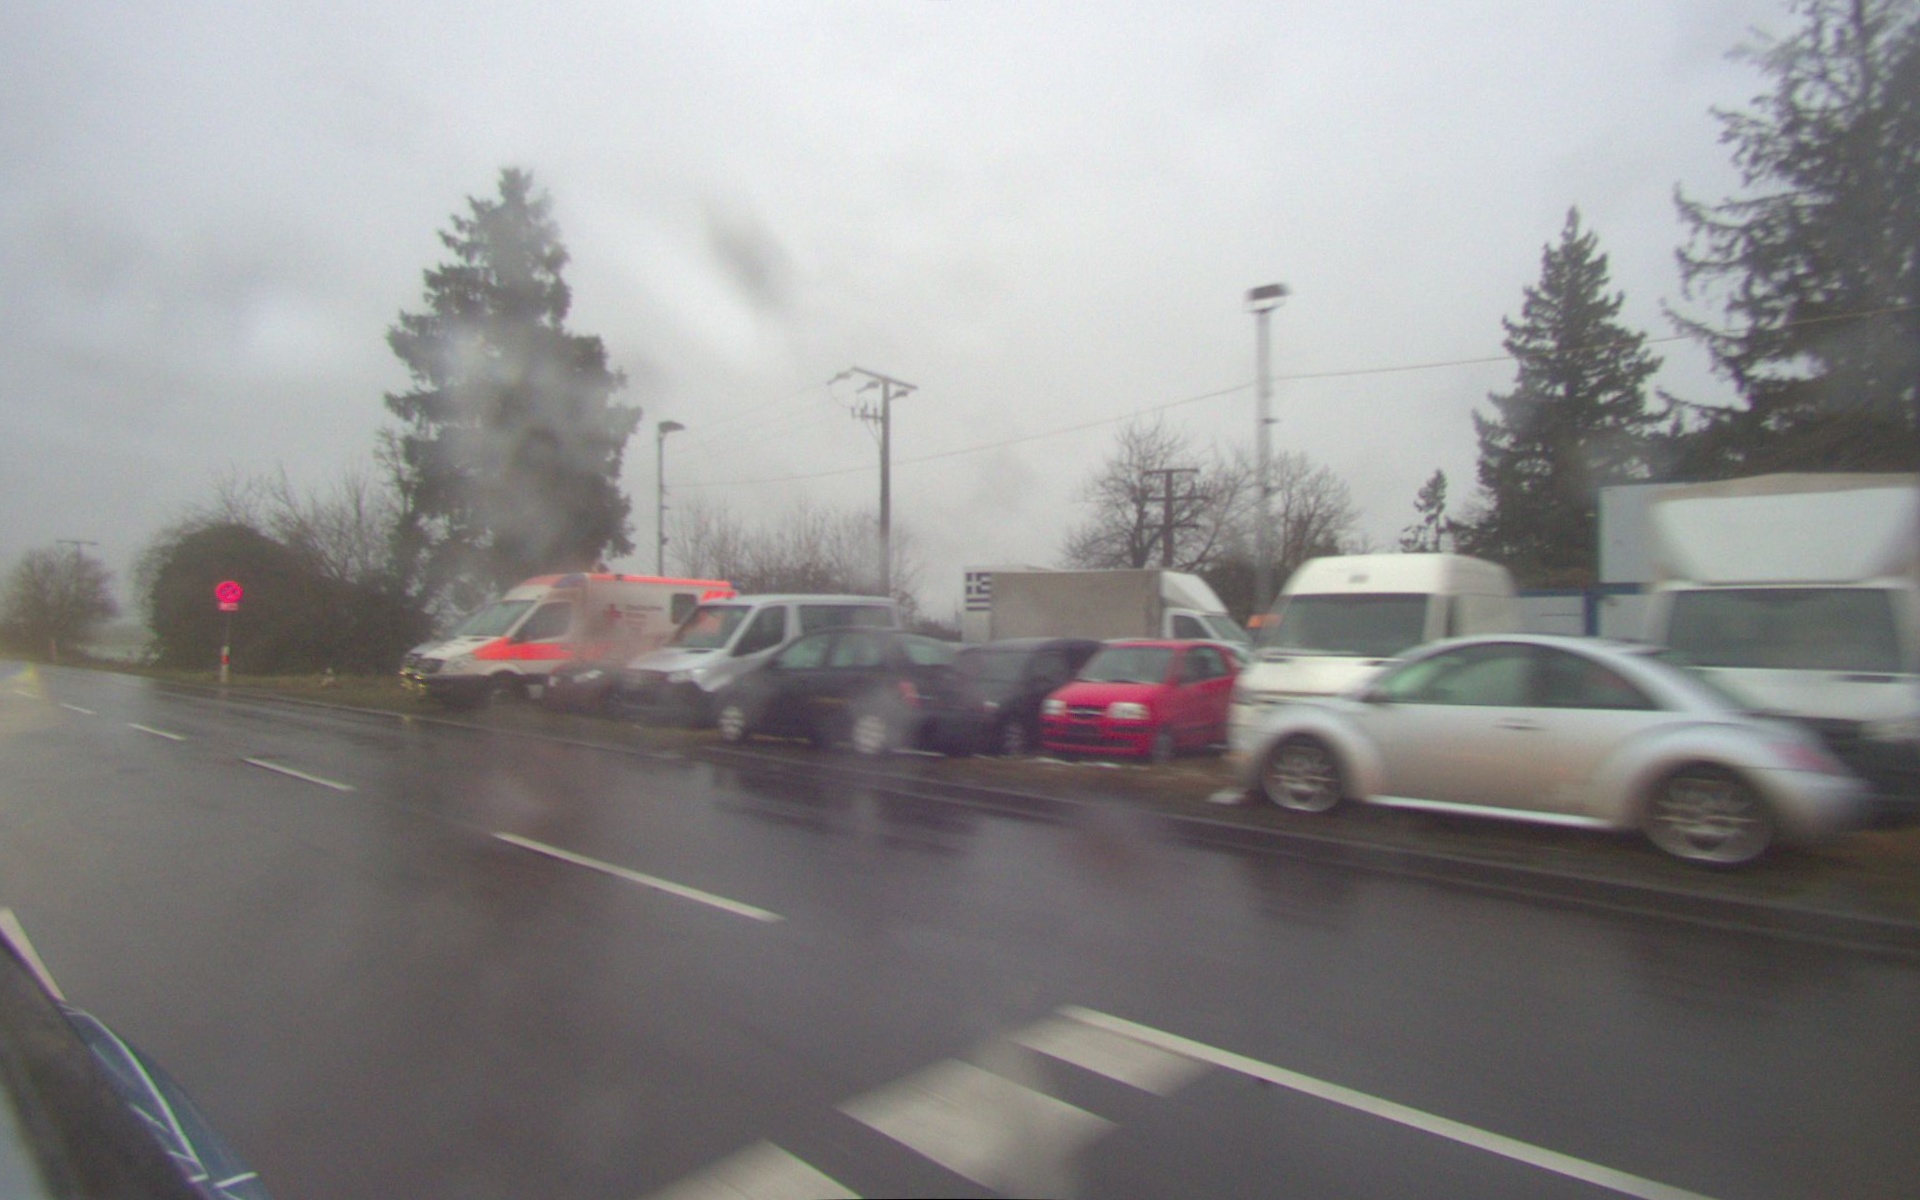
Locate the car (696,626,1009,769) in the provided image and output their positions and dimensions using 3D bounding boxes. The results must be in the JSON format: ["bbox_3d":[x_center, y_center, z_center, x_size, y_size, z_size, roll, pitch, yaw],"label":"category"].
[{"bbox_3d":[-1.387,1.091,12.057,3.741,1.431,1.633,-3,-4,42],"label":"car"}]

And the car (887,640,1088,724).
[{"bbox_3d":[0.616,1.473,18.917,1.838,1.394,3.950,-3,-4,37],"label":"car"}]

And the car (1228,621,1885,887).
[{"bbox_3d":[4.090,0.896,7.351,3.840,1.423,1.632,-2,-3,43],"label":"car"}]

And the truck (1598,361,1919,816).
[{"bbox_3d":[8.276,0.006,10.124,2.332,3.166,6.790,-2,-2,39],"label":"truck"}]

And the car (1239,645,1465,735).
[{"bbox_3d":[6.761,1.489,17.571,3.340,1.379,1.591,-2,-2,39],"label":"car"}]

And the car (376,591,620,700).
[{"bbox_3d":[-11.232,1.151,24.956,2.078,2.408,5.052,-2,-4,38],"label":"car"}]

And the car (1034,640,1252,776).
[{"bbox_3d":[2.450,1.278,13.083,1.496,1.503,3.197,-2,-3,37],"label":"car"}]

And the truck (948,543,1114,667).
[{"bbox_3d":[3.009,0.167,39.301,2.995,4.293,8.626,-1,0,30],"label":"truck"}]

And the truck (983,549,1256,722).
[{"bbox_3d":[3.497,0.827,22.906,5.842,3.481,2.012,-2,-5,37],"label":"truck"}]

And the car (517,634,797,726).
[{"bbox_3d":[-5.516,1.442,18.953,1.954,1.494,4.699,-2,-4,41],"label":"car"}]

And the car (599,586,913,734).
[{"bbox_3d":[-3.302,1.026,17.415,2.057,2.167,5.092,-2,-4,41],"label":"car"}]

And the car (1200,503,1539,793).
[{"bbox_3d":[5.255,0.547,12.318,2.193,2.659,5.972,-2,-3,39],"label":"car"}]

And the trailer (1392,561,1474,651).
[{"bbox_3d":[16.691,0.257,35.481,2.208,2.694,10.412,-1,-1,26],"label":"trailer"}]

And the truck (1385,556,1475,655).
[{"bbox_3d":[14.061,0.191,30.190,2.223,2.717,4.682,-1,-1,27],"label":"truck"}]

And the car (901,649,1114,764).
[{"bbox_3d":[0.766,1.416,14.402,1.478,1.338,3.273,-1,-2,36],"label":"car"}]

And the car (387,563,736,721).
[{"bbox_3d":[-7.609,0.873,20.050,2.175,2.652,6.092,-2,-4,41],"label":"car"}]

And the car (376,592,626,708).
[{"bbox_3d":[-10.049,1.128,22.492,1.986,2.290,4.618,-2,-4,40],"label":"car"}]
